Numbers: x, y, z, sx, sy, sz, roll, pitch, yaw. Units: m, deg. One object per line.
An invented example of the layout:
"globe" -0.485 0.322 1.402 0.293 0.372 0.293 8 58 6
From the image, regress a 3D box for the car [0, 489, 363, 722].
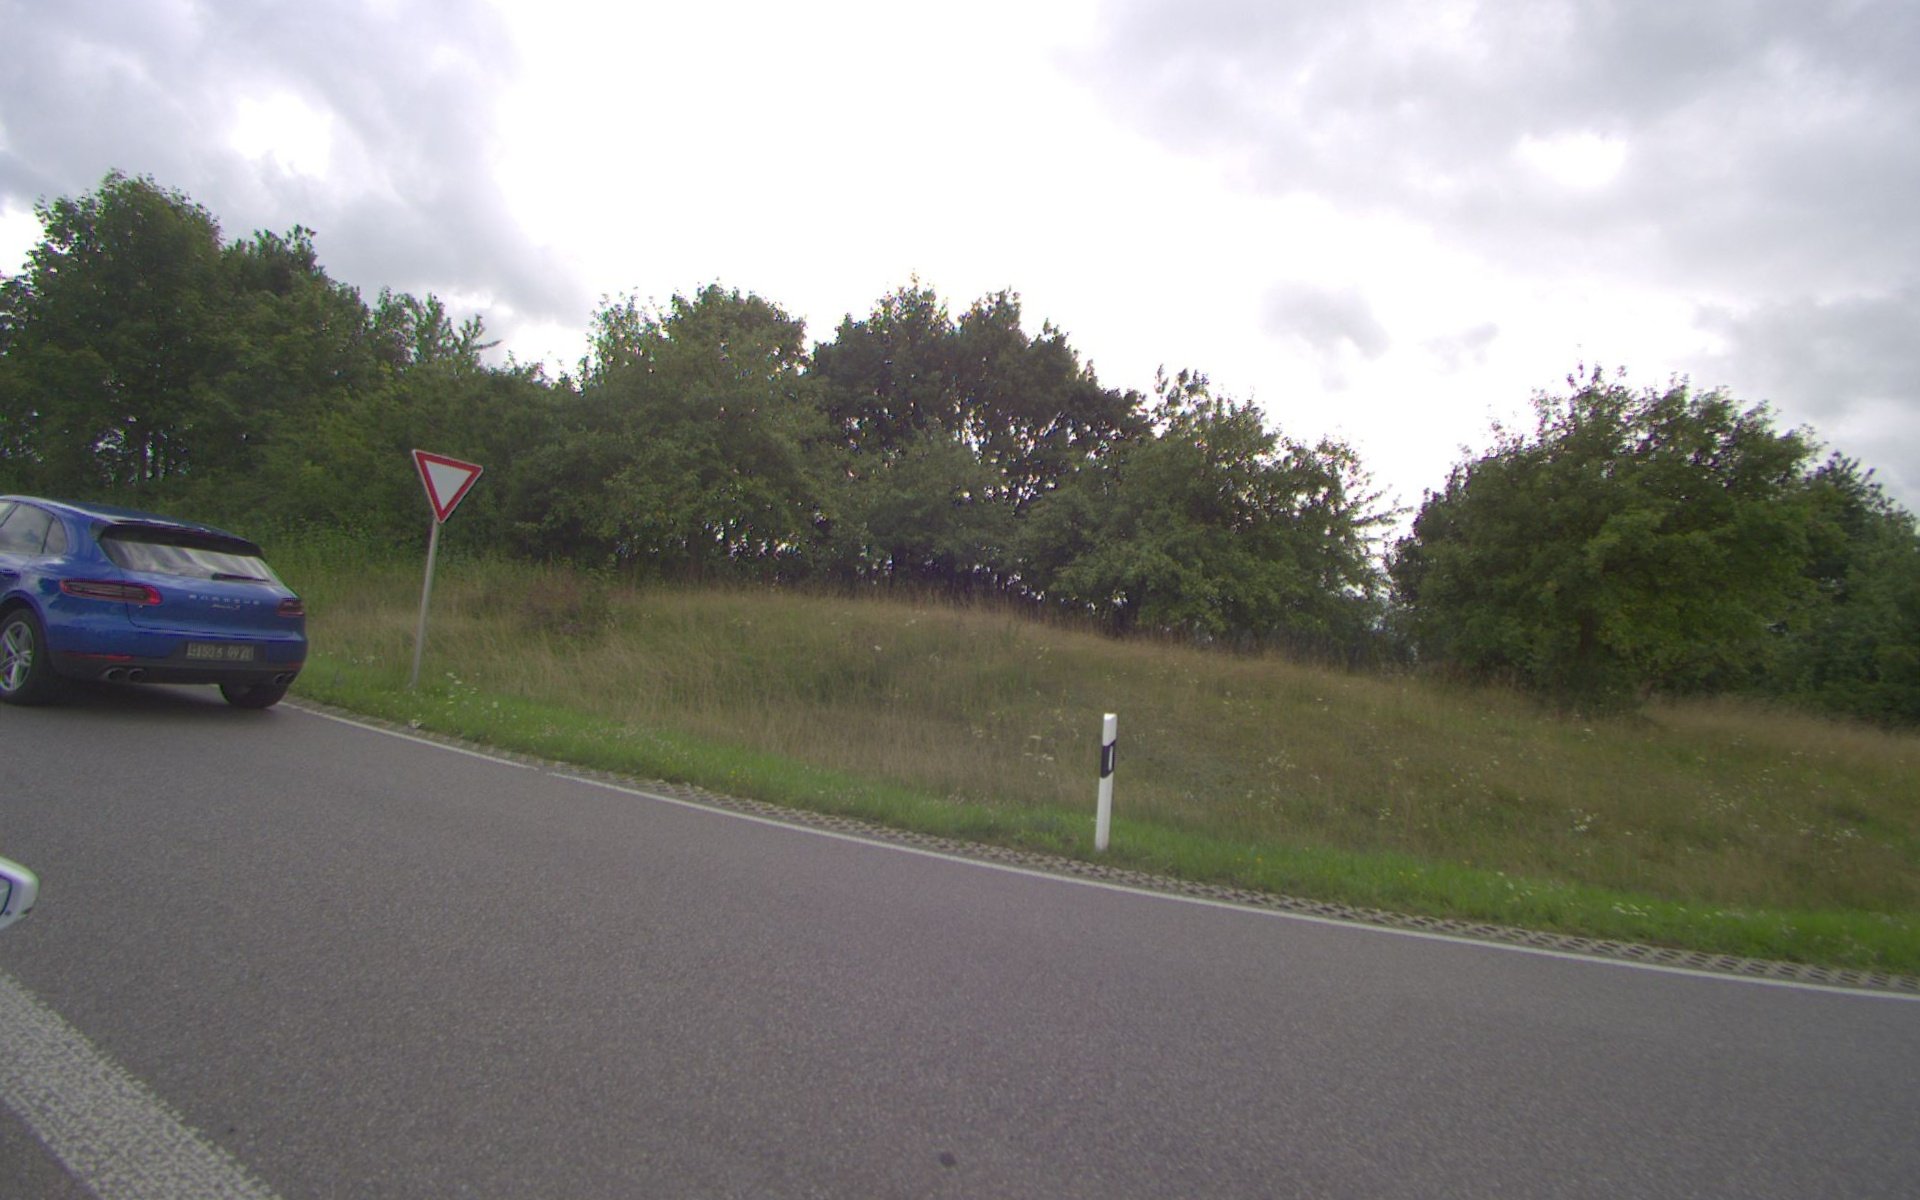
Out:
"car" -7.980 -0.062 9.048 4.670 1.587 2.002 7 -3 24
